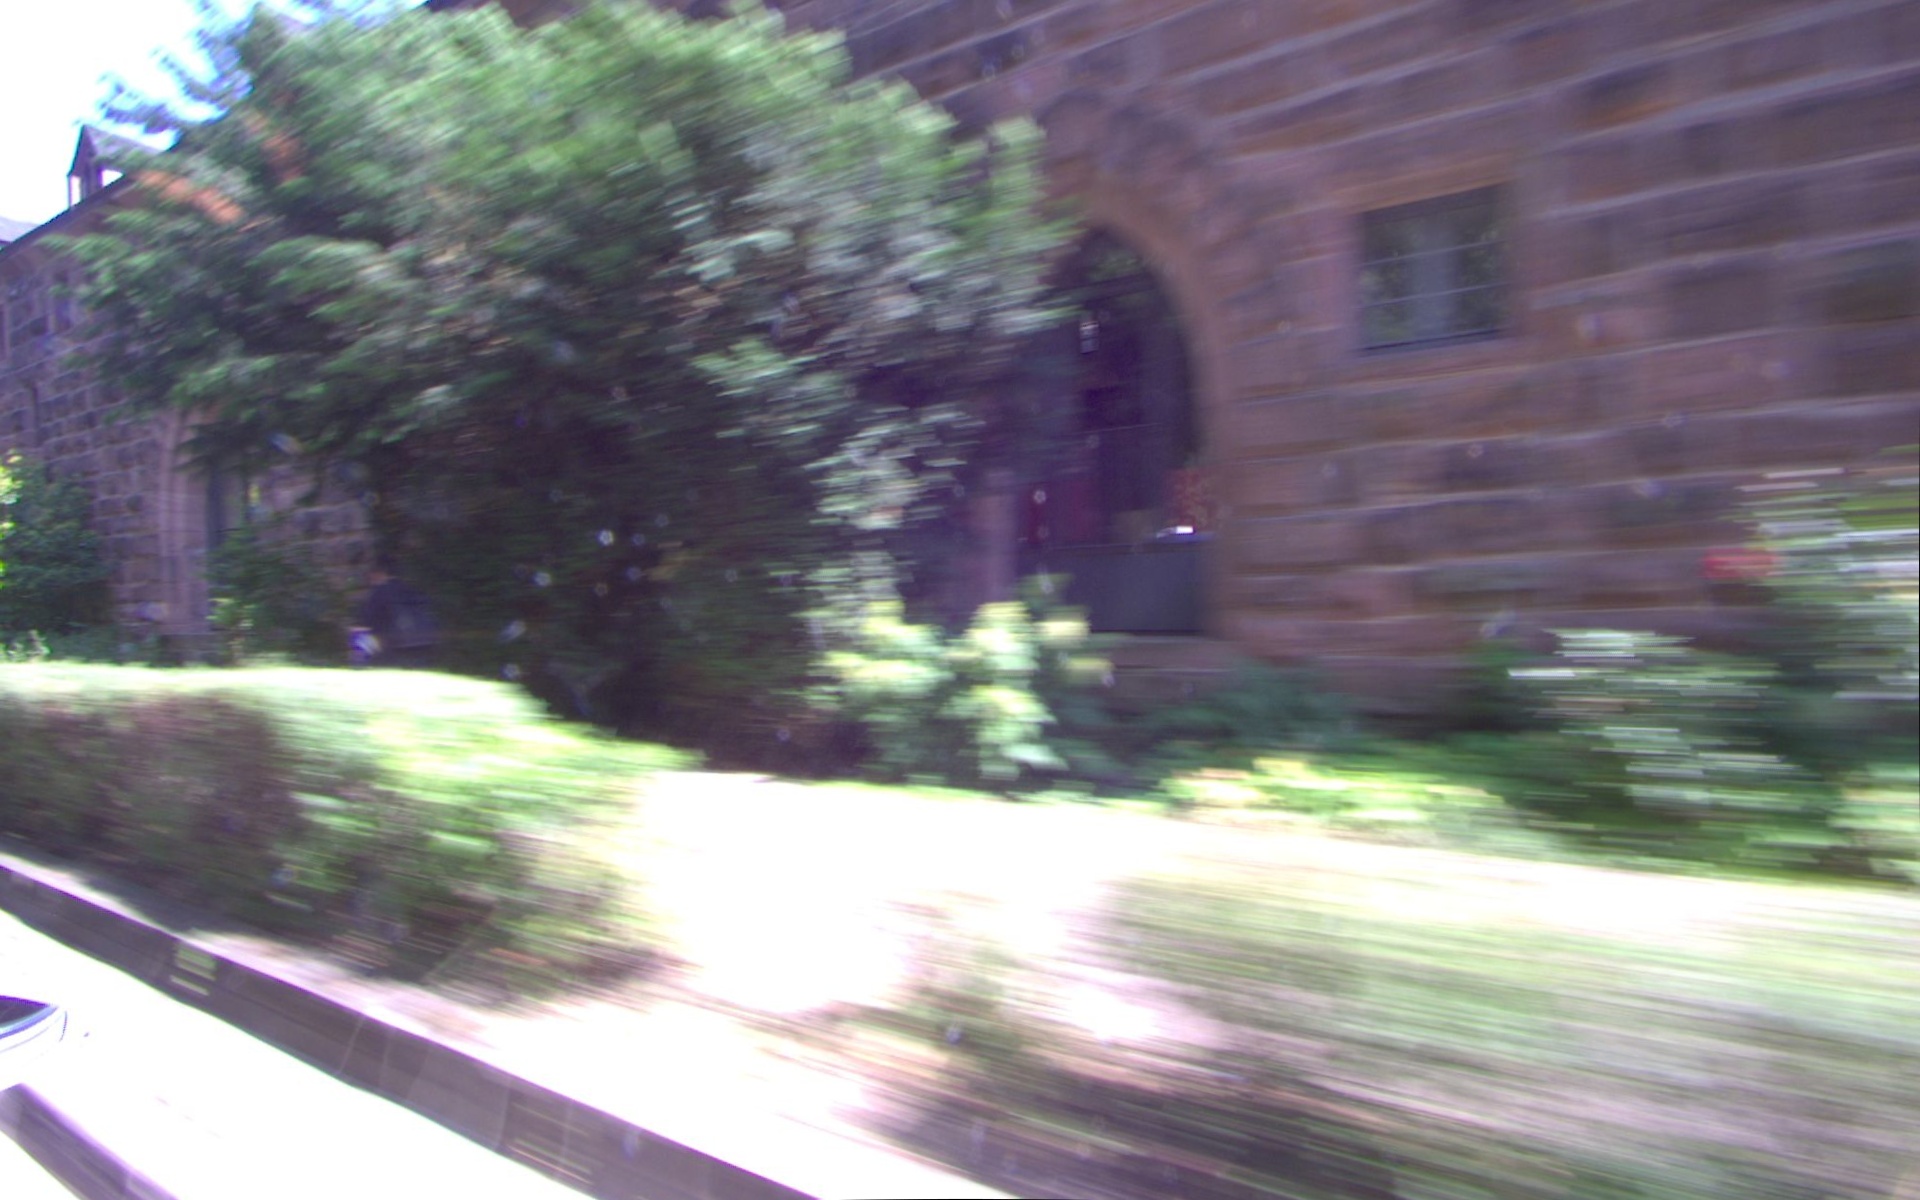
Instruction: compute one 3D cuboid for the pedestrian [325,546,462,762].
[{"bbox_3d":[-4.651,0.415,8.234,0.695,1.675,0.696,0,2,35],"label":"pedestrian"}]
